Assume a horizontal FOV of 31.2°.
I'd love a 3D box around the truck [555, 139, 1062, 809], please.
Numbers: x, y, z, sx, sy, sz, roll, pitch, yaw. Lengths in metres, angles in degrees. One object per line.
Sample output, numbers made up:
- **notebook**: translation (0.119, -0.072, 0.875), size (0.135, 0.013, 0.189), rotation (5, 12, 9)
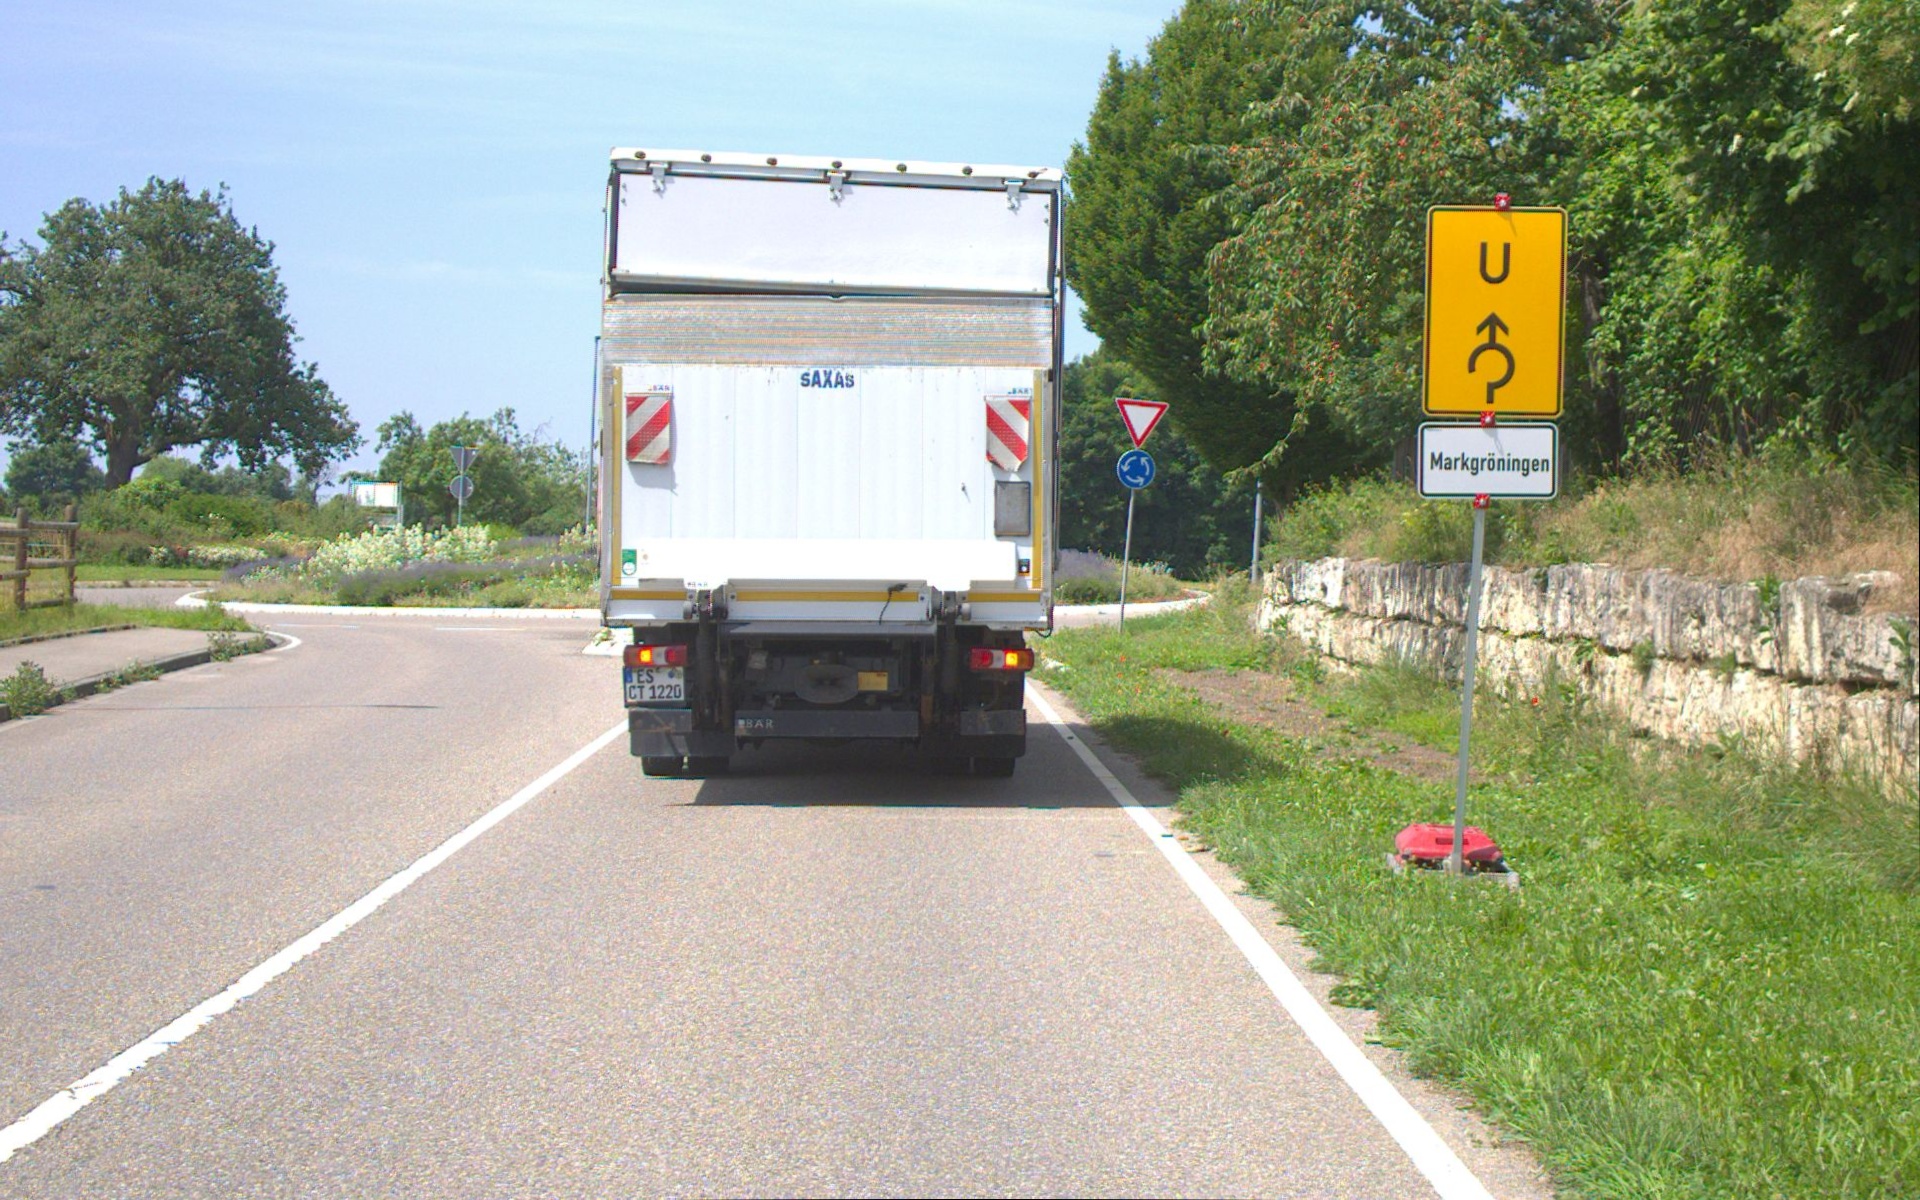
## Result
- **truck**: translation (-1.021, -0.778, 23.524), size (2.766, 3.658, 9.384), rotation (0, 1, -2)
